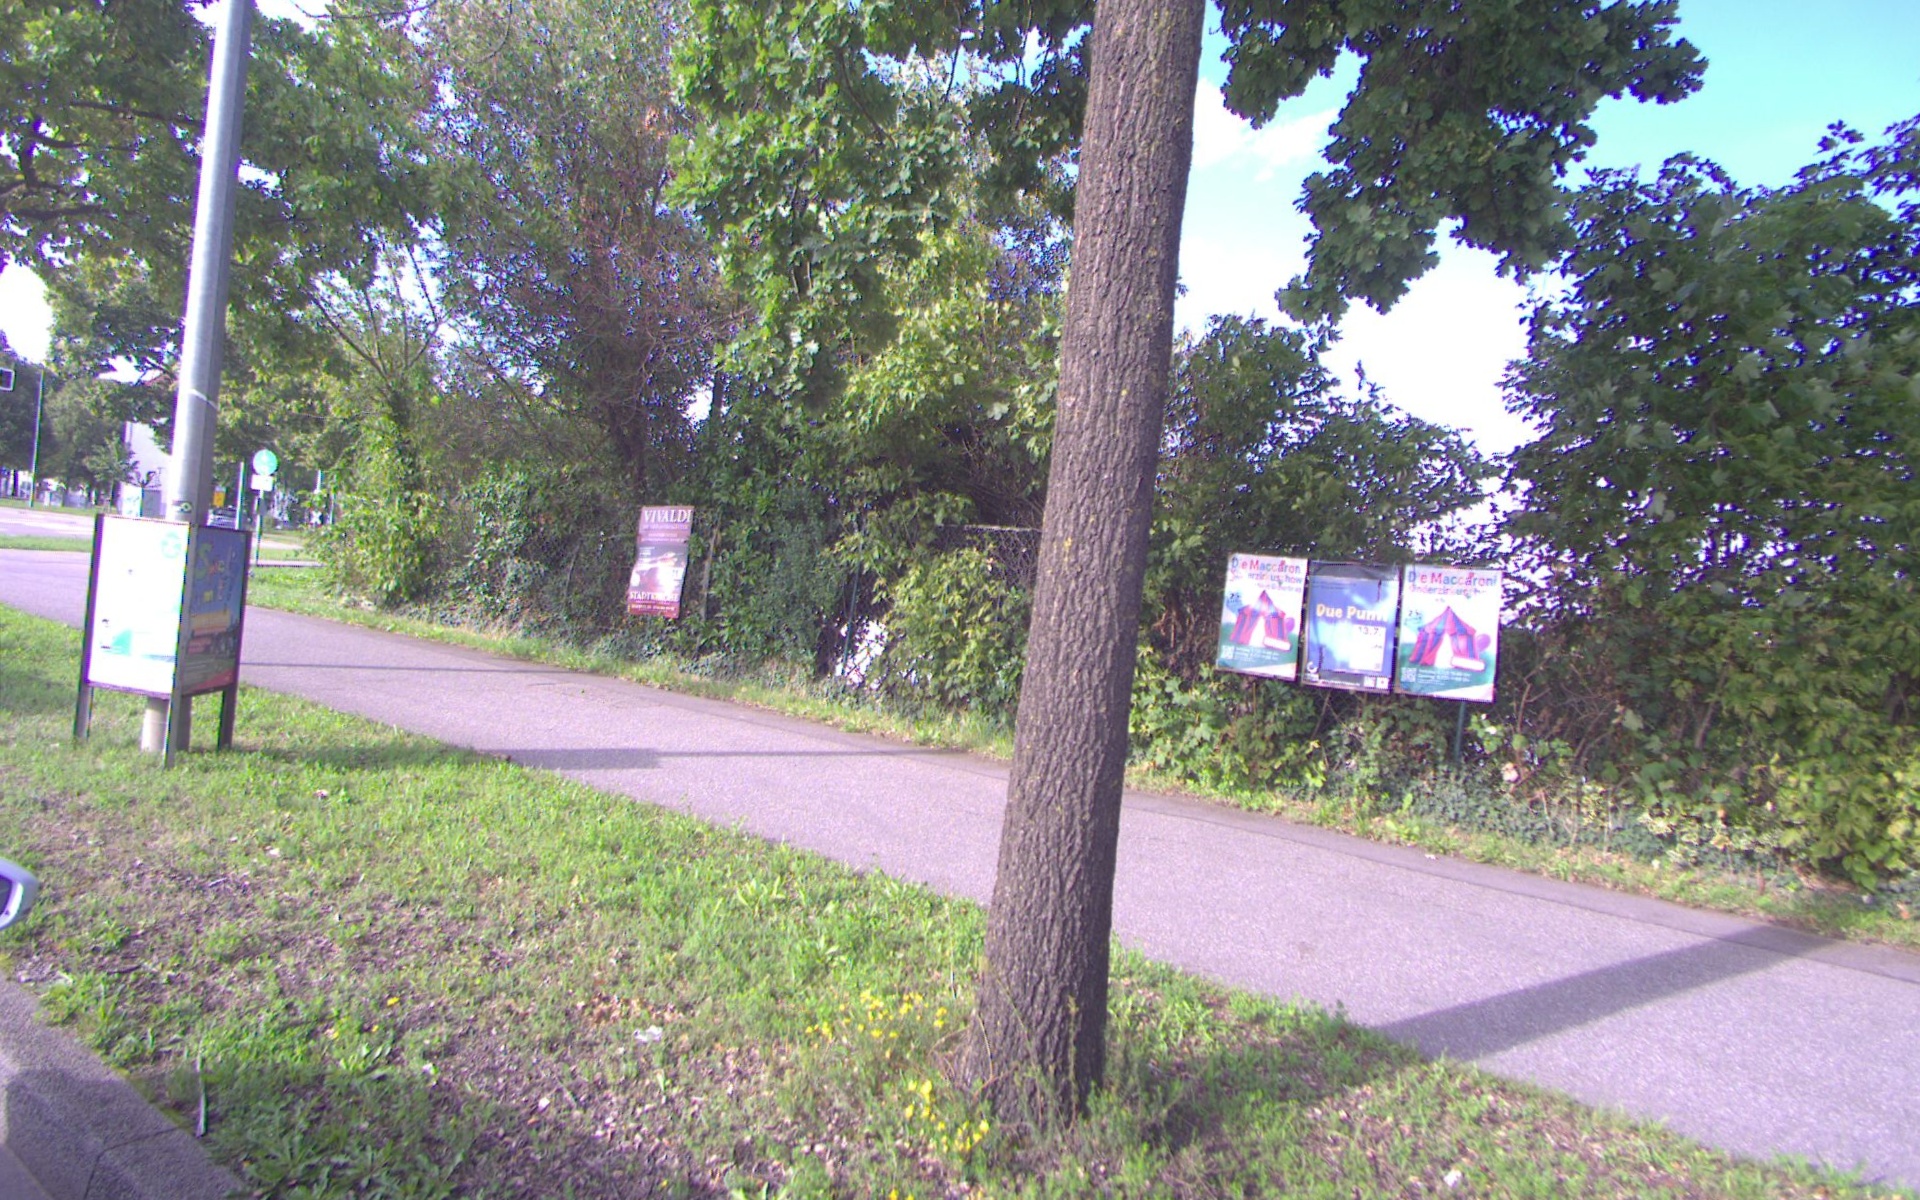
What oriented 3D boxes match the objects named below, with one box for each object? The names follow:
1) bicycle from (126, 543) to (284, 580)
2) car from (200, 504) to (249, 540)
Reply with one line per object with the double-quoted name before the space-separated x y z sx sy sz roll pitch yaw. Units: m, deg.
"bicycle" -15.261 -0.776 20.357 2.529 0.390 1.411 7 0 21
"car" -38.962 -4.139 53.327 1.558 1.594 3.172 8 2 -29
